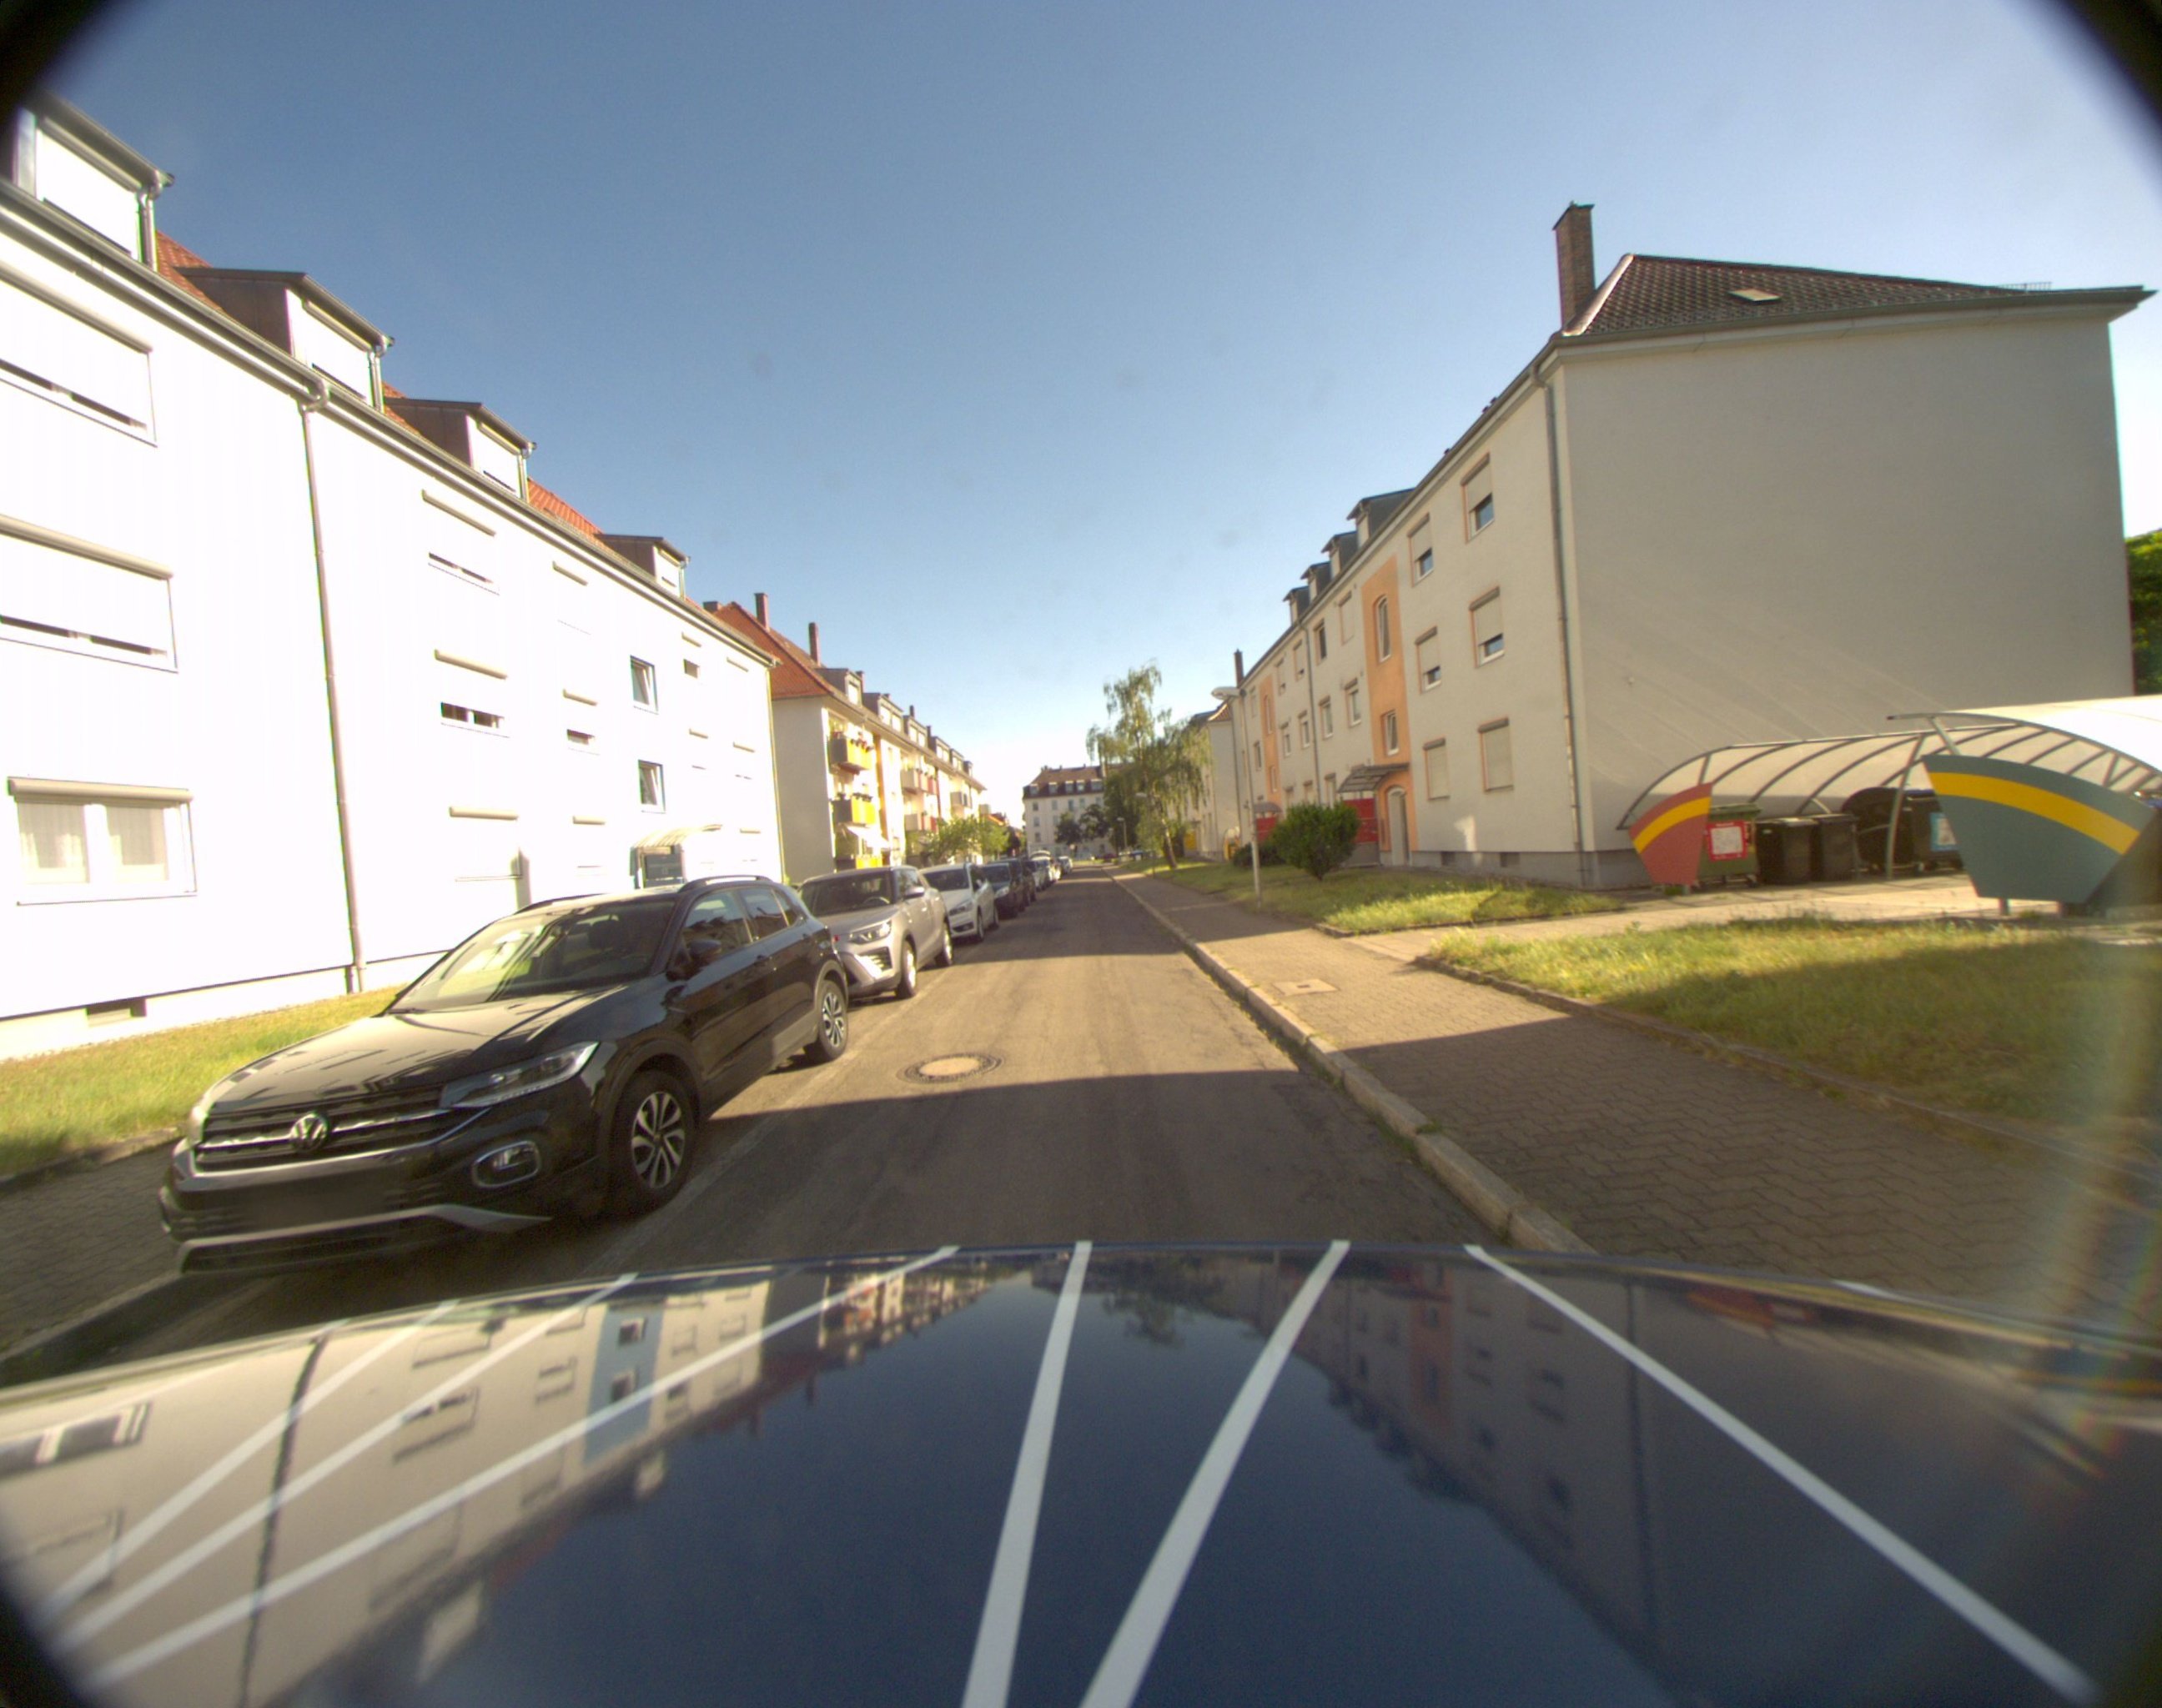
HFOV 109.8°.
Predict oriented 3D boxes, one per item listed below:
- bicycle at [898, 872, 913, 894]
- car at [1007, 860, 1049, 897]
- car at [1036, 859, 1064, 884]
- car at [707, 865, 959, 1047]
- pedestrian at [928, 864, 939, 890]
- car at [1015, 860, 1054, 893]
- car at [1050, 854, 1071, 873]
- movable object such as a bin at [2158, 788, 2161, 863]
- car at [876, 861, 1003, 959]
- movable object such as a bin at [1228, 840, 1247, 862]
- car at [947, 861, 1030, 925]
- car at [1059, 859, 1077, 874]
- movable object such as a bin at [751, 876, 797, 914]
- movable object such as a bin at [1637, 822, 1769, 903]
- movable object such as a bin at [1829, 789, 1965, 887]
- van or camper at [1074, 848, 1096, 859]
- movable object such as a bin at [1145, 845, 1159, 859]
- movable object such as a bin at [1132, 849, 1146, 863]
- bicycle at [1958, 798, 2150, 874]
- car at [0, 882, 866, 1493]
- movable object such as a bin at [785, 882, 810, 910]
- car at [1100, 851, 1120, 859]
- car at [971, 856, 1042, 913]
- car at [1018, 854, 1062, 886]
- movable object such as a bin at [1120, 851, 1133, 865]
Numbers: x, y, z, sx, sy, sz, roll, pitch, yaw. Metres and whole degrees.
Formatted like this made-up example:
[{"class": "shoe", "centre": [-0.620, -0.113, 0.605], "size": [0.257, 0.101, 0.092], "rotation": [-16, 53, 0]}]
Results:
[{"class": "bicycle", "centre": [-9.584, 1.556, 41.534], "size": [0.404, 1.126, 1.273], "rotation": [-4, 0, 1]}, {"class": "car", "centre": [-2.537, 1.145, 36.937], "size": [1.483, 1.520, 2.941], "rotation": [-6, 0, 5]}, {"class": "car", "centre": [-2.099, 1.168, 52.532], "size": [1.776, 1.496, 4.480], "rotation": [-5, 0, -1]}, {"class": "car", "centre": [-2.869, 1.072, 9.950], "size": [1.755, 1.608, 4.451], "rotation": [-7, 0, -1]}, {"class": "pedestrian", "centre": [-8.663, 1.329, 44.559], "size": [0.451, 1.486, 0.360], "rotation": [-4, 2, 1]}, {"class": "car", "centre": [-2.472, 1.172, 41.207], "size": [1.698, 1.482, 3.984], "rotation": [-6, 0, 0]}, {"class": "car", "centre": [-1.872, 0.852, 70.534], "size": [1.717, 1.501, 3.853], "rotation": [-7, 0, 0]}, {"class": "movable object such as a bin", "centre": [11.682, -0.037, 7.395], "size": [1.254, 1.348, 0.905], "rotation": [-4, 1, -11]}, {"class": "car", "centre": [-2.761, 1.018, 15.809], "size": [1.694, 1.566, 4.434], "rotation": [-5, 0, 0]}, {"class": "movable object such as a bin", "centre": [10.594, -0.200, 51.442], "size": [1.087, 1.398, 0.813], "rotation": [-5, 0, 1]}, {"class": "car", "centre": [-2.517, 1.032, 21.659], "size": [1.645, 1.489, 4.157], "rotation": [-4, 0, 2]}, {"class": "car", "centre": [-1.359, 1.329, 82.355], "size": [1.695, 1.410, 4.097], "rotation": [-6, 0, 0]}, {"class": "movable object such as a bin", "centre": [-12.563, 1.651, 31.124], "size": [1.331, 1.399, 1.106], "rotation": [-3, 3, 1]}, {"class": "movable object such as a bin", "centre": [10.004, 0.127, 12.268], "size": [1.316, 1.161, 0.910], "rotation": [-4, 0, 0]}, {"class": "movable object such as a bin", "centre": [13.042, -0.246, 12.189], "size": [1.062, 1.433, 0.947], "rotation": [-5, 0, 0]}, {"class": "van or camper", "centre": [0.800, -0.083, 155.051], "size": [4.355, 1.852, 2.000], "rotation": [-3, 0, -1]}, {"class": "movable object such as a bin", "centre": [8.348, -0.227, 89.426], "size": [1.363, 1.445, 1.073], "rotation": [-8, 1, 1]}, {"class": "movable object such as a bin", "centre": [6.833, 0.191, 89.422], "size": [1.358, 1.451, 1.082], "rotation": [-8, 1, 1]}, {"class": "bicycle", "centre": [15.271, -0.261, 12.018], "size": [0.509, 1.061, 1.941], "rotation": [-5, 0, 1]}, {"class": "car", "centre": [-2.877, 1.142, 4.566], "size": [1.716, 1.586, 4.397], "rotation": [-7, 0, 0]}, {"class": "movable object such as a bin", "centre": [-11.560, 1.713, 31.030], "size": [0.644, 1.029, 0.757], "rotation": [-3, 3, 1]}, {"class": "car", "centre": [5.990, 0.247, 154.676], "size": [3.996, 1.477, 1.722], "rotation": [-3, 0, 2]}, {"class": "car", "centre": [-2.529, 0.992, 26.756], "size": [1.787, 1.638, 4.469], "rotation": [-6, 0, 2]}, {"class": "car", "centre": [-2.443, 0.928, 46.530], "size": [1.998, 1.603, 4.996], "rotation": [-6, 0, 3]}, {"class": "movable object such as a bin", "centre": [5.322, 0.424, 89.371], "size": [1.318, 1.451, 1.198], "rotation": [-8, 1, 1]}]
